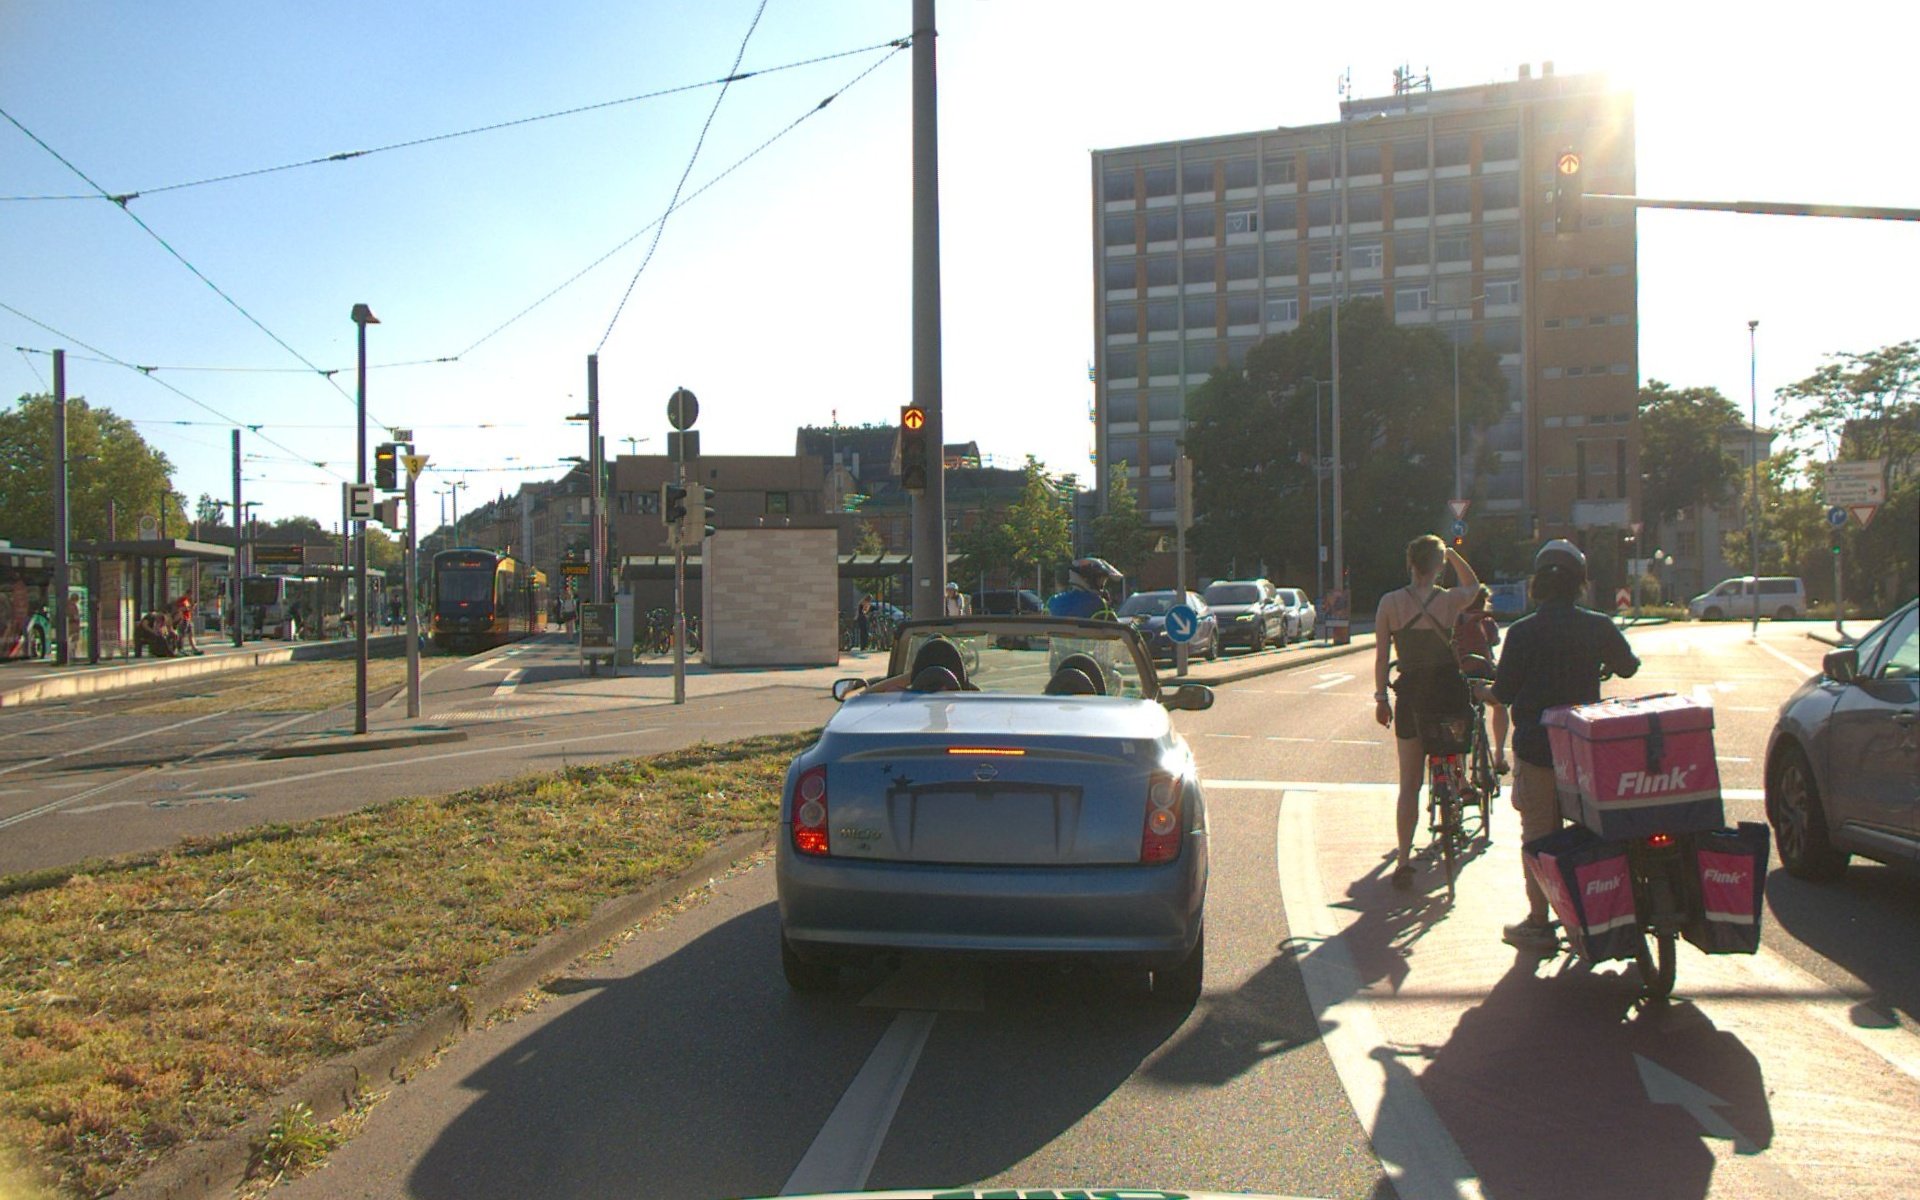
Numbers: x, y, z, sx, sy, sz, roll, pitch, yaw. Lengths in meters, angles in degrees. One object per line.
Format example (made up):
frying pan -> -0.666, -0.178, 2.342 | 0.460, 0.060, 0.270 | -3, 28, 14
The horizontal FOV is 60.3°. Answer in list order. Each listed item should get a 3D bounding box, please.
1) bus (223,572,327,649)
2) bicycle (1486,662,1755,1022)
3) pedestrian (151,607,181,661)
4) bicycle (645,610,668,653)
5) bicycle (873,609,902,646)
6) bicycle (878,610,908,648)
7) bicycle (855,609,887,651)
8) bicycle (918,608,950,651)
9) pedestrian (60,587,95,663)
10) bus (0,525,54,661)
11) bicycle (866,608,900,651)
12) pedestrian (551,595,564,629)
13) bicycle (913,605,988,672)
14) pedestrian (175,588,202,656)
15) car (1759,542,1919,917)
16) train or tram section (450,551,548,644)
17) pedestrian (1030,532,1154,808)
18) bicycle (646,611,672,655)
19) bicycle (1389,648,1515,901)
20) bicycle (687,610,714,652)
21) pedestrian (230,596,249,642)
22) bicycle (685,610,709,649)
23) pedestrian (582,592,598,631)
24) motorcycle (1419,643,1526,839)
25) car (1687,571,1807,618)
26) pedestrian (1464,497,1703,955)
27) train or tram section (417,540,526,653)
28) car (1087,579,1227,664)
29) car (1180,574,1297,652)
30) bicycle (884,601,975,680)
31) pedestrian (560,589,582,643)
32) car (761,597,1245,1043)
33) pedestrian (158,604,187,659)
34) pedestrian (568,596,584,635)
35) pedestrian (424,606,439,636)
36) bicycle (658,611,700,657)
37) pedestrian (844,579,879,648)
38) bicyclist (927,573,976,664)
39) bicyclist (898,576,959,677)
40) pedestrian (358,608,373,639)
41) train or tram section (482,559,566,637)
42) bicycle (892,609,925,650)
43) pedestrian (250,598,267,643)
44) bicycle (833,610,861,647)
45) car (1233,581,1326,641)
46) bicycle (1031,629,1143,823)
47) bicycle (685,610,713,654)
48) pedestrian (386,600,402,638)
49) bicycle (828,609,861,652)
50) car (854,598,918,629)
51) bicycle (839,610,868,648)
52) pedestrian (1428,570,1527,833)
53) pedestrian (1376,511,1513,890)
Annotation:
bus -> -32.734, 0.470, 79.555 | 2.675, 3.331, 13.413 | 1, 0, -14
bicycle -> 2.728, 0.901, 7.074 | 0.542, 1.192, 2.374 | 1, 0, 9
pedestrian -> -20.094, 0.858, 41.869 | 0.606, 1.364, 0.438 | -1, 0, -18
bicycle -> -8.423, 0.863, 45.849 | 0.596, 1.134, 1.891 | 1, 0, -11
bicycle -> -2.337, 0.868, 53.190 | 0.596, 1.134, 1.890 | 1, 0, -13
bicycle -> -2.087, 0.887, 51.222 | 0.596, 1.134, 1.890 | 1, 0, -13
bicycle -> -2.558, 0.845, 47.140 | 0.596, 1.134, 1.890 | 1, 0, -13
bicycle -> -0.730, 0.809, 45.539 | 0.595, 1.134, 1.892 | 1, 0, -10
pedestrian -> -20.971, 0.592, 39.320 | 0.527, 1.779, 0.559 | -1, 0, -6
bus -> -23.561, -0.176, 37.171 | 2.606, 3.190, 9.619 | 1, 0, -10
bicycle -> -2.110, 0.784, 45.215 | 0.596, 1.134, 1.890 | 1, 0, -13
pedestrian -> -21.788, 0.651, 89.580 | 0.593, 1.779, 0.830 | -1, 0, -8
bicycle -> -0.155, 0.712, 31.448 | 0.660, 1.201, 2.183 | -1, 0, 21
pedestrian -> -20.706, 0.584, 44.407 | 0.561, 1.779, 0.637 | -1, 0, -17
car -> 5.286, 0.608, 7.400 | 1.792, 1.719, 4.372 | 1, 0, 8
train or tram section -> -19.979, -0.081, 72.363 | 2.957, 3.659, 12.169 | 1, 0, -10
pedestrian -> 0.969, 0.487, 11.968 | 0.815, 1.901, 0.921 | 1, -1, 8
bicycle -> -7.992, 0.861, 43.931 | 0.596, 1.134, 1.890 | 1, 0, -13
bicycle -> 2.638, 0.870, 8.999 | 0.552, 1.171, 1.951 | 1, 0, 14
bicycle -> -7.278, 0.863, 46.336 | 0.596, 1.134, 1.890 | 1, 0, -13
pedestrian -> -28.041, 0.739, 64.334 | 0.630, 1.779, 0.567 | -1, 0, -27
bicycle -> -7.978, 0.895, 50.199 | 0.596, 1.134, 1.890 | 1, 0, -13
pedestrian -> -17.128, 0.543, 76.587 | 0.628, 1.779, 0.732 | -1, 0, -19
motorcycle -> 3.420, 0.874, 11.113 | 0.600, 1.117, 2.361 | 1, 0, 16
car -> 34.876, -0.223, 73.430 | 4.592, 1.979, 1.916 | -1, 0, 18
pedestrian -> 2.763, 0.524, 7.427 | 0.789, 1.901, 0.957 | 1, -1, 8
train or tram section -> -17.645, -0.103, 60.409 | 2.831, 3.659, 12.161 | 1, 0, -12
car -> 4.072, 0.426, 33.685 | 1.702, 1.601, 3.921 | 1, 0, 25
car -> 6.770, 0.286, 39.813 | 1.726, 1.736, 4.529 | -2, -1, 23
bicycle -> -0.504, 0.677, 28.830 | 0.660, 1.272, 2.457 | -3, -1, 21
pedestrian -> -12.918, 0.523, 54.929 | 0.628, 1.779, 0.569 | -1, 0, -19
car -> 0.355, 0.747, 7.682 | 1.625, 1.466, 4.157 | 1, 0, 6
pedestrian -> -20.251, 0.805, 42.549 | 0.561, 1.369, 0.637 | -1, 0, -17
pedestrian -> -17.661, 0.699, 76.049 | 0.628, 1.779, 0.732 | -1, 0, -19
pedestrian -> -31.867, 1.286, 99.700 | 0.720, 1.779, 0.638 | -1, 0, -8
bicycle -> -7.183, 0.858, 42.338 | 0.594, 1.134, 1.898 | 1, 0, 5
pedestrian -> -2.787, 0.384, 46.729 | 0.885, 1.901, 0.685 | 1, -1, -13
bicyclist -> -0.155, 0.349, 31.475 | 0.694, 1.686, 0.743 | -1, 0, 21
bicyclist -> -0.542, 0.457, 28.762 | 0.694, 1.686, 0.901 | -3, -1, 21
pedestrian -> -35.253, 1.380, 98.090 | 0.720, 1.779, 0.638 | -1, 0, -8
train or tram section -> -22.044, -0.066, 84.258 | 2.984, 3.659, 12.024 | 1, 0, -10
bicycle -> -1.495, 0.832, 47.544 | 0.596, 1.134, 1.890 | 1, 0, -13
pedestrian -> -28.049, 0.810, 66.106 | 0.562, 1.779, 0.636 | -1, 0, -20
bicycle -> -3.623, 0.900, 52.962 | 0.596, 1.134, 1.890 | 1, 0, -13
car -> 9.013, 0.282, 46.458 | 1.661, 1.588, 3.977 | -1, 0, 25
bicycle -> 0.953, 0.831, 11.899 | 0.595, 1.212, 2.416 | 1, 0, 9
bicycle -> -6.988, 0.846, 44.277 | 0.596, 1.134, 1.890 | 1, 0, -13
pedestrian -> -26.655, 0.902, 77.855 | 0.630, 1.779, 0.567 | -1, 0, -27
bicycle -> -3.161, 0.826, 45.058 | 0.596, 1.134, 1.890 | 1, 0, -13
car -> -3.983, 0.742, 88.612 | 1.629, 1.588, 3.549 | -1, 0, -39
bicycle -> -3.292, 0.884, 51.000 | 0.596, 1.134, 1.890 | 1, 0, -13
pedestrian -> 3.382, 0.631, 10.851 | 0.575, 1.626, 1.025 | 1, -1, 16
pedestrian -> 2.560, 0.501, 8.811 | 0.645, 1.901, 0.873 | 1, -1, 14
